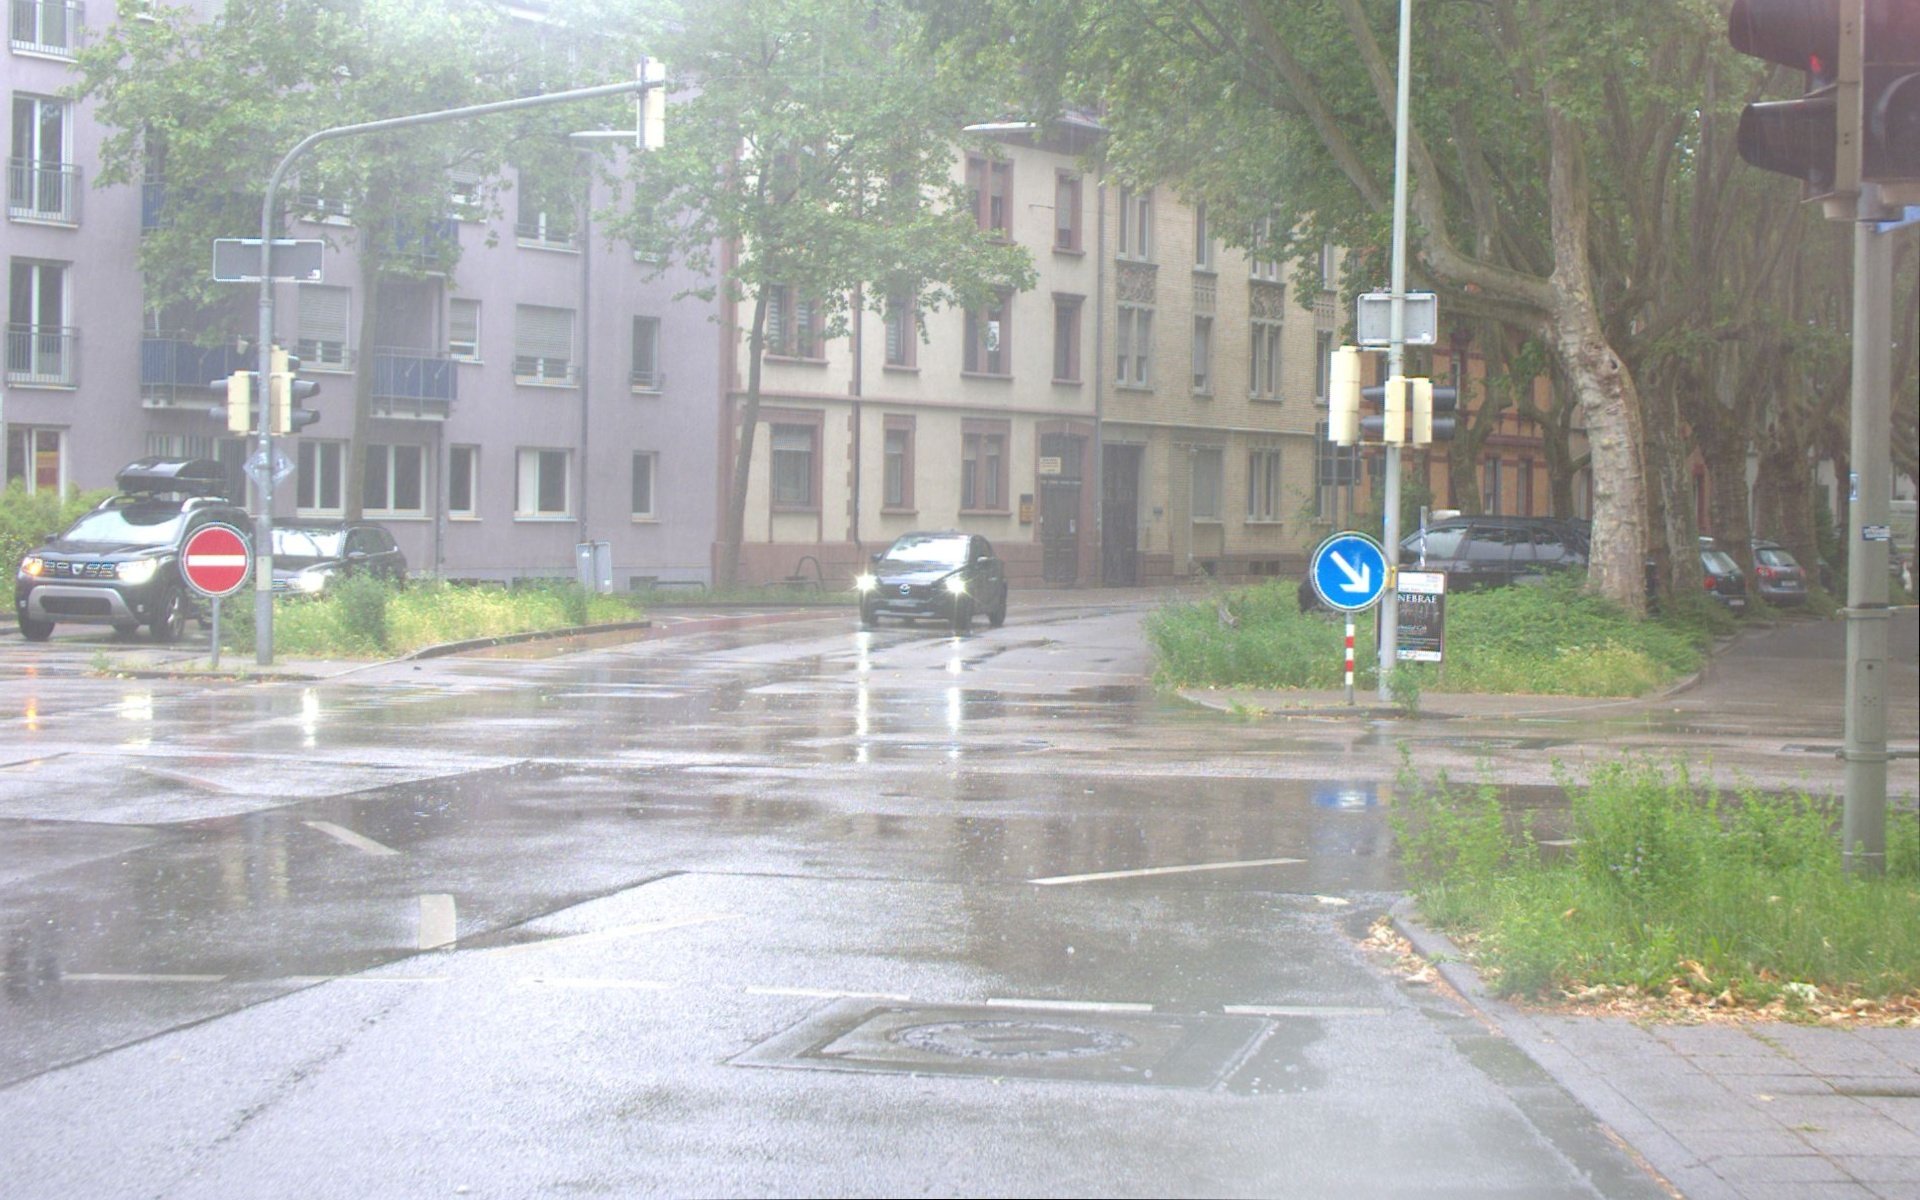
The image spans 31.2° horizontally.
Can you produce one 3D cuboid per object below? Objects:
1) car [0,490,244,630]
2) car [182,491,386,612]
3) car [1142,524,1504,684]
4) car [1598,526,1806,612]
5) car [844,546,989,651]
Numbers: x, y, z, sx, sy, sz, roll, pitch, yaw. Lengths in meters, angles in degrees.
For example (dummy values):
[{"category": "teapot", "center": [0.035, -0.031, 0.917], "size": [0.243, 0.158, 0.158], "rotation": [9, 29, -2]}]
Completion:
[{"category": "car", "center": [-9.739, -0.491, 40.081], "size": [1.725, 1.547, 3.559], "rotation": [0, 2, 6]}, {"category": "car", "center": [-9.031, -0.672, 46.185], "size": [1.725, 1.547, 3.559], "rotation": [0, 2, 6]}, {"category": "car", "center": [3.619, 0.029, 34.070], "size": [3.480, 1.518, 1.519], "rotation": [0, 2, 9]}, {"category": "car", "center": [14.362, -0.604, 66.539], "size": [3.612, 1.612, 1.679], "rotation": [0, 2, 28]}, {"category": "car", "center": [-0.654, -0.044, 54.191], "size": [1.603, 1.547, 3.558], "rotation": [0, 2, 11]}]
